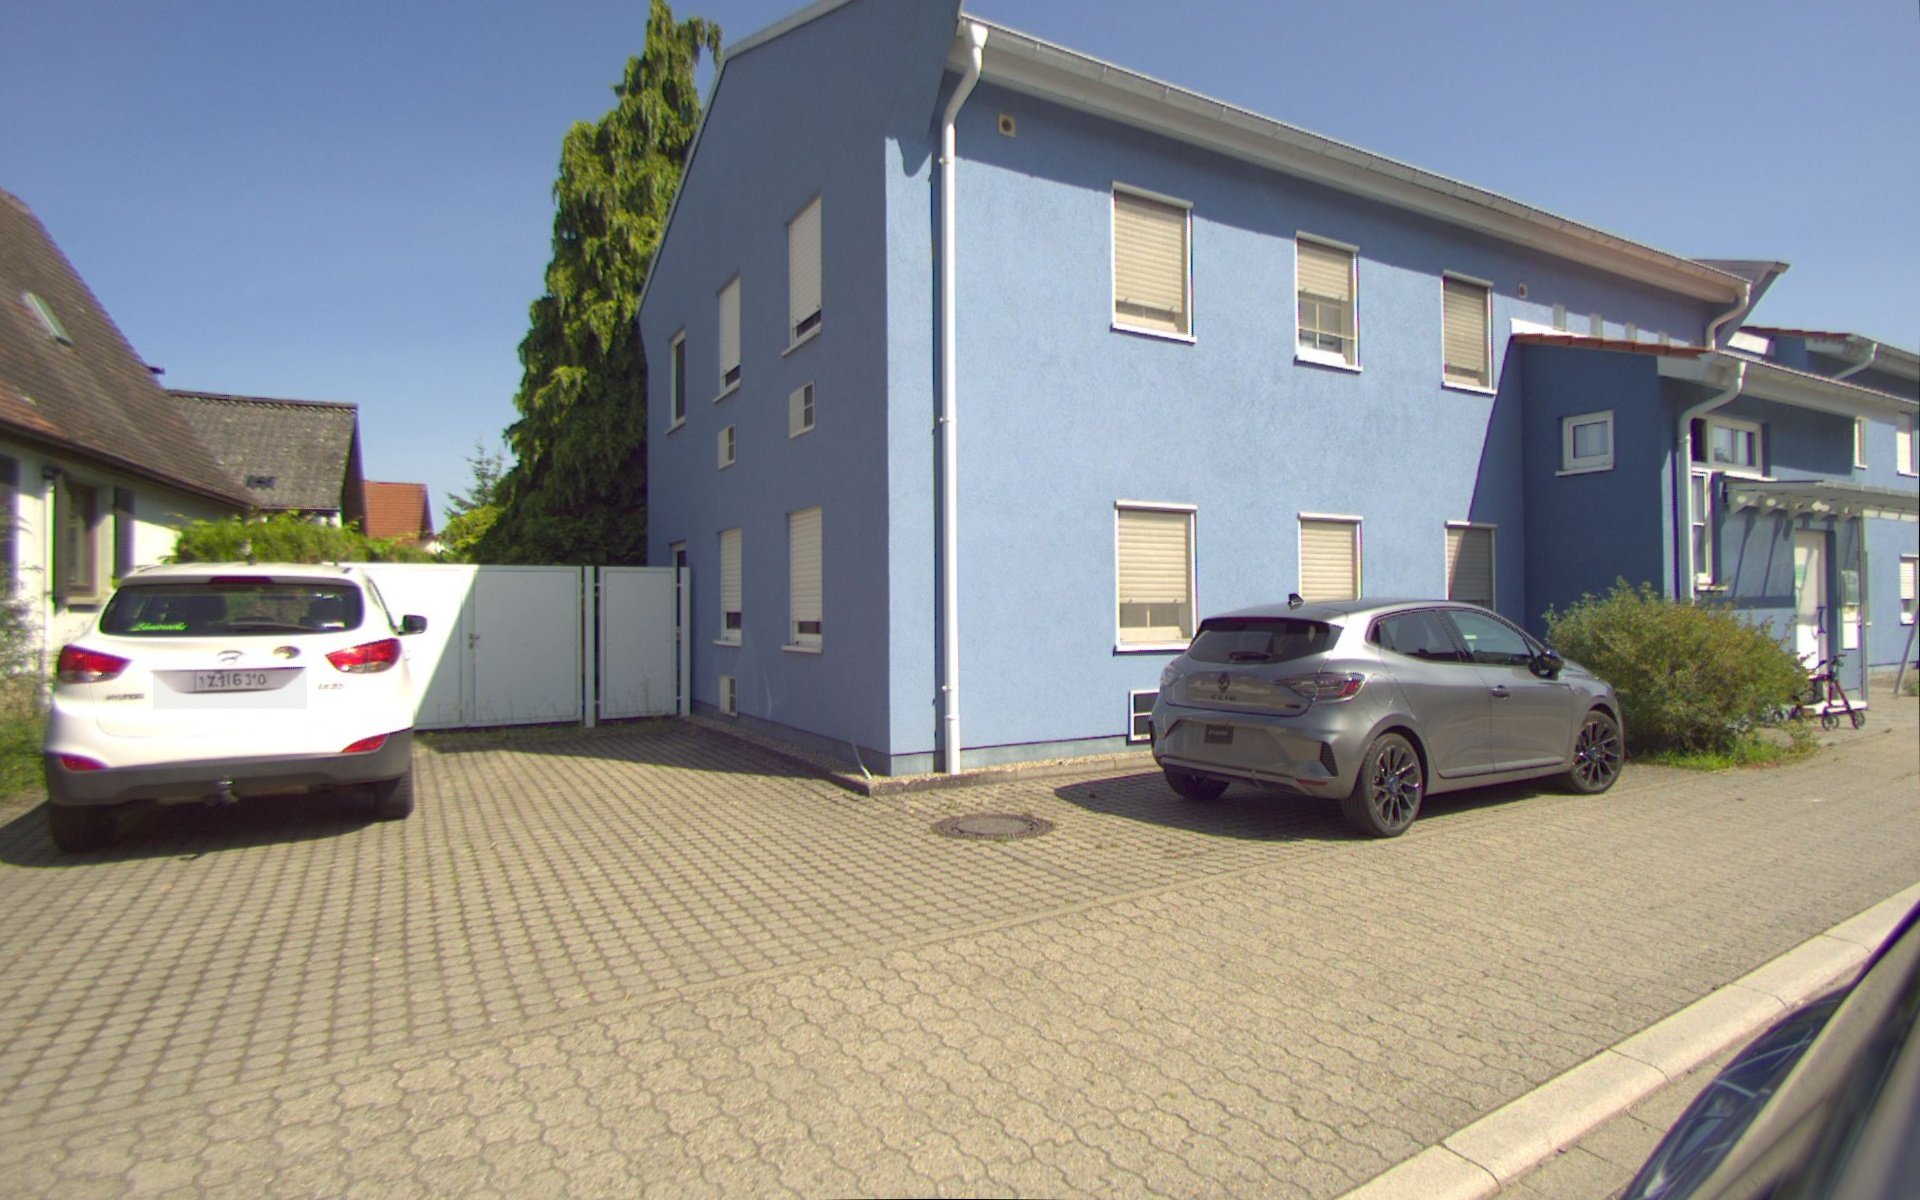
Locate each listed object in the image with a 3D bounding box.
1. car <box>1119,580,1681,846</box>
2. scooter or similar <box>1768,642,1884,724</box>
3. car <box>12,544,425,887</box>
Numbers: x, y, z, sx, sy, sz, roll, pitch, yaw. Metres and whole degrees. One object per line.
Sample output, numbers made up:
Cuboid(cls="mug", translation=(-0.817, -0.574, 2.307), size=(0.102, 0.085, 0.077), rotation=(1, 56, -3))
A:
Cuboid(cls="car", translation=(3.284, 0.611, 7.341), size=(4.064, 1.438, 1.696), rotation=(-1, -1, -32))
Cuboid(cls="scooter or similar", translation=(9.722, 0.917, 11.373), size=(0.810, 0.825, 0.731), rotation=(-1, 0, -27))
Cuboid(cls="car", translation=(-4.852, 0.550, 7.224), size=(1.775, 1.678, 4.193), rotation=(-1, 0, -28))
